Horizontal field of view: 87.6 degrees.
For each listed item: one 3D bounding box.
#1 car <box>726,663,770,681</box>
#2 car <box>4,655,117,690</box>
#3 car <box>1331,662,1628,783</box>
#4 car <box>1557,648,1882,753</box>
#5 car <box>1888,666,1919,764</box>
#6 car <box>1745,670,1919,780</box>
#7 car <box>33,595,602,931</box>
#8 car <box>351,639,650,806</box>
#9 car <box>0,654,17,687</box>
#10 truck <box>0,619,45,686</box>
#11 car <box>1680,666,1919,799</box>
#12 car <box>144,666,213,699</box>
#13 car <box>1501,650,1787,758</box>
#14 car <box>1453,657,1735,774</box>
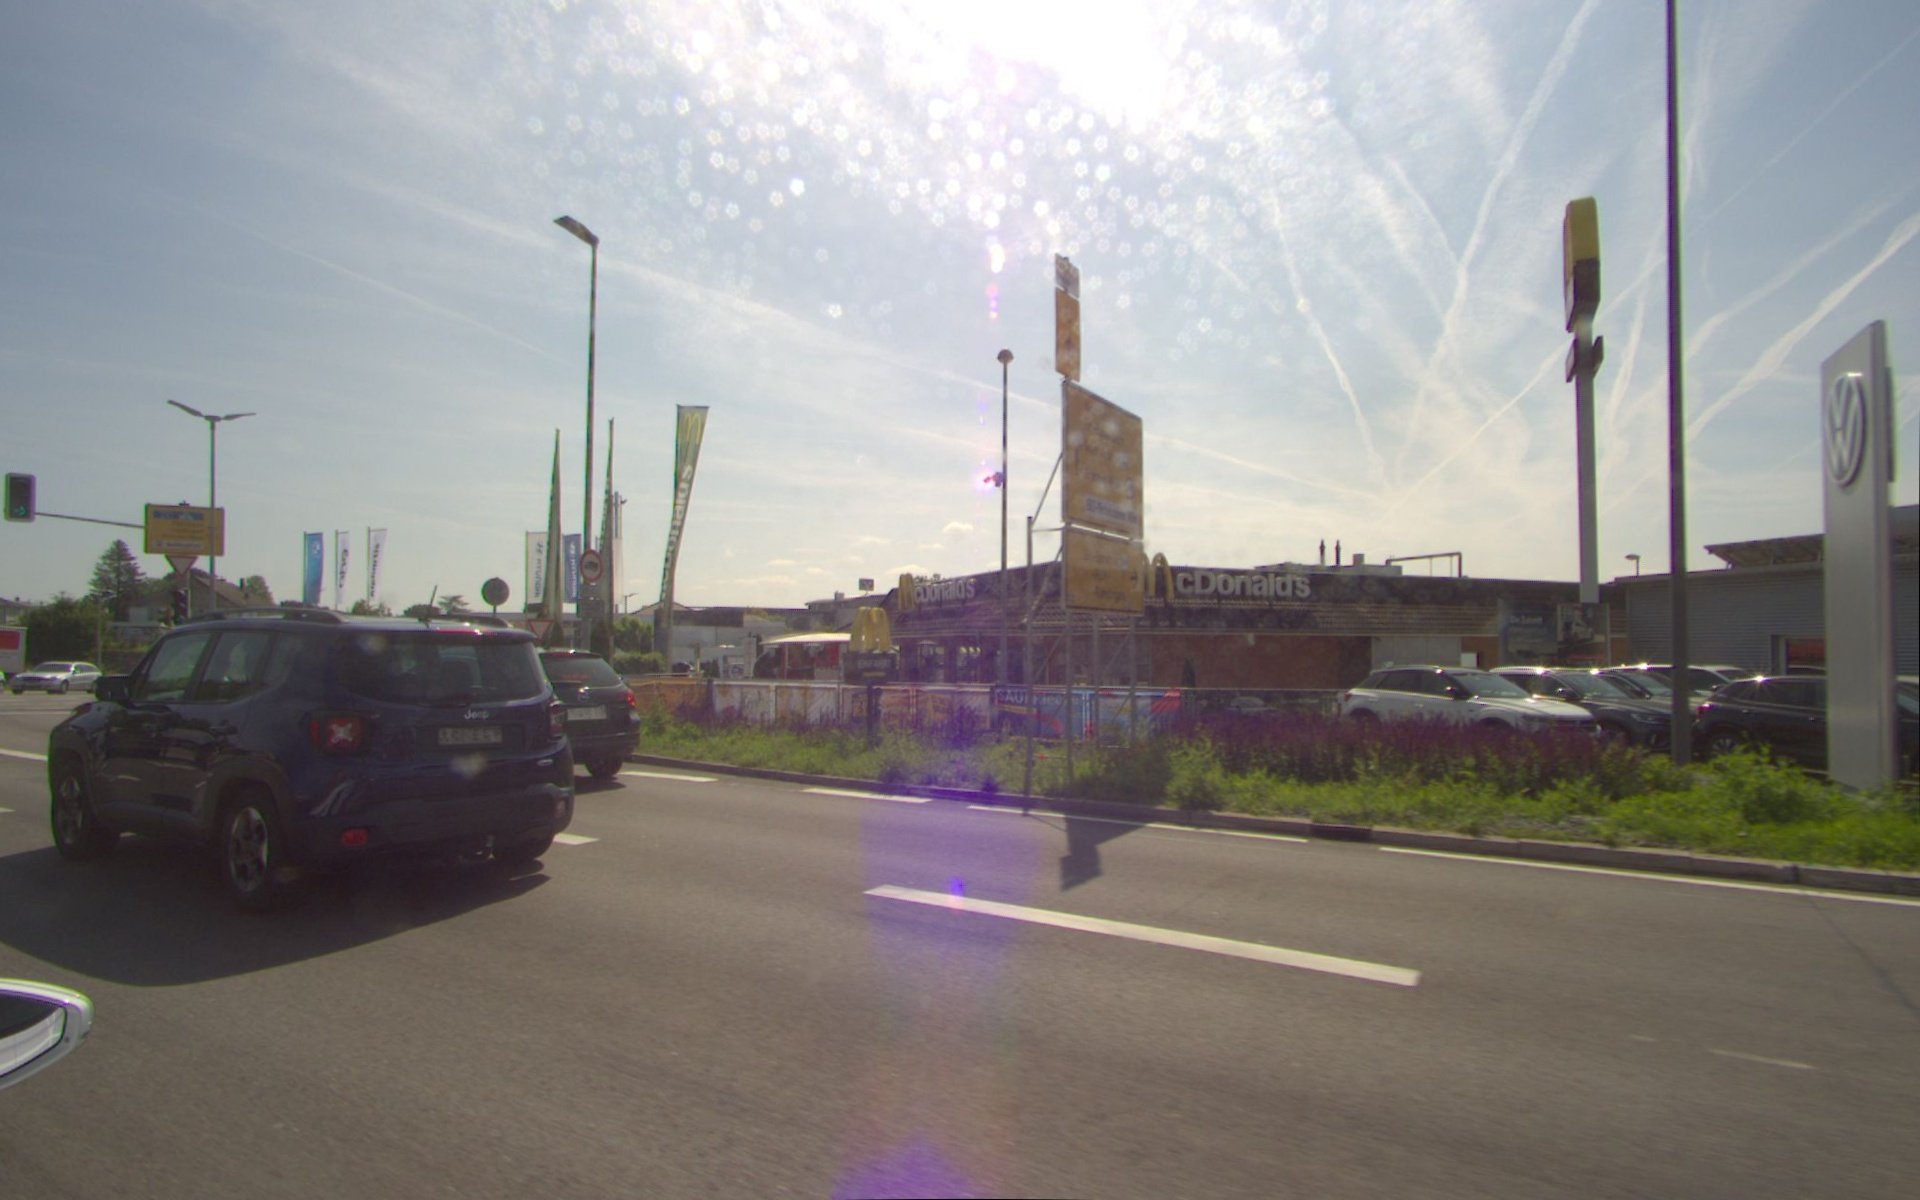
[{"bbox_3d":[-21.231,7.168,100.243,4.118,1.638,2.005,0,-1,-20],"label":"car"},{"bbox_3d":[-41.444,3.385,46.305,1.966,1.522,4.995,2,-5,-19],"label":"car"},{"bbox_3d":[8.415,1.901,16.690,1.830,1.596,4.222,0,-2,-22],"label":"car"},{"bbox_3d":[14.606,1.838,19.653,1.881,1.692,4.805,0,-2,-22],"label":"car"},{"bbox_3d":[16.806,1.824,14.960,1.747,1.537,3.949,0,-2,-22],"label":"car"},{"bbox_3d":[14.549,1.871,14.933,1.767,1.469,4.143,0,-2,-22],"label":"car"},{"bbox_3d":[-4.455,0.872,6.812,3.943,1.675,1.767,-1,-2,32],"label":"car"},{"bbox_3d":[-5.545,1.251,11.771,1.980,1.539,4.409,1,-2,-42],"label":"car"},{"bbox_3d":[-44.212,3.127,44.663,1.682,1.521,3.751,2,-5,-19],"label":"car"},{"bbox_3d":[-55.308,2.573,53.272,2.716,3.668,9.713,0,-7,14],"label":"truck"},{"bbox_3d":[12.577,1.765,13.737,1.747,1.552,4.079,0,-2,-22],"label":"car"},{"bbox_3d":[-40.701,4.290,52.262,1.970,1.594,3.987,3,-5,-26],"label":"car"},{"bbox_3d":[12.588,1.822,18.759,1.747,1.692,4.159,0,-2,-22],"label":"car"},{"bbox_3d":[10.905,1.900,17.554,1.747,1.692,3.899,0,-2,-22],"label":"car"}]
